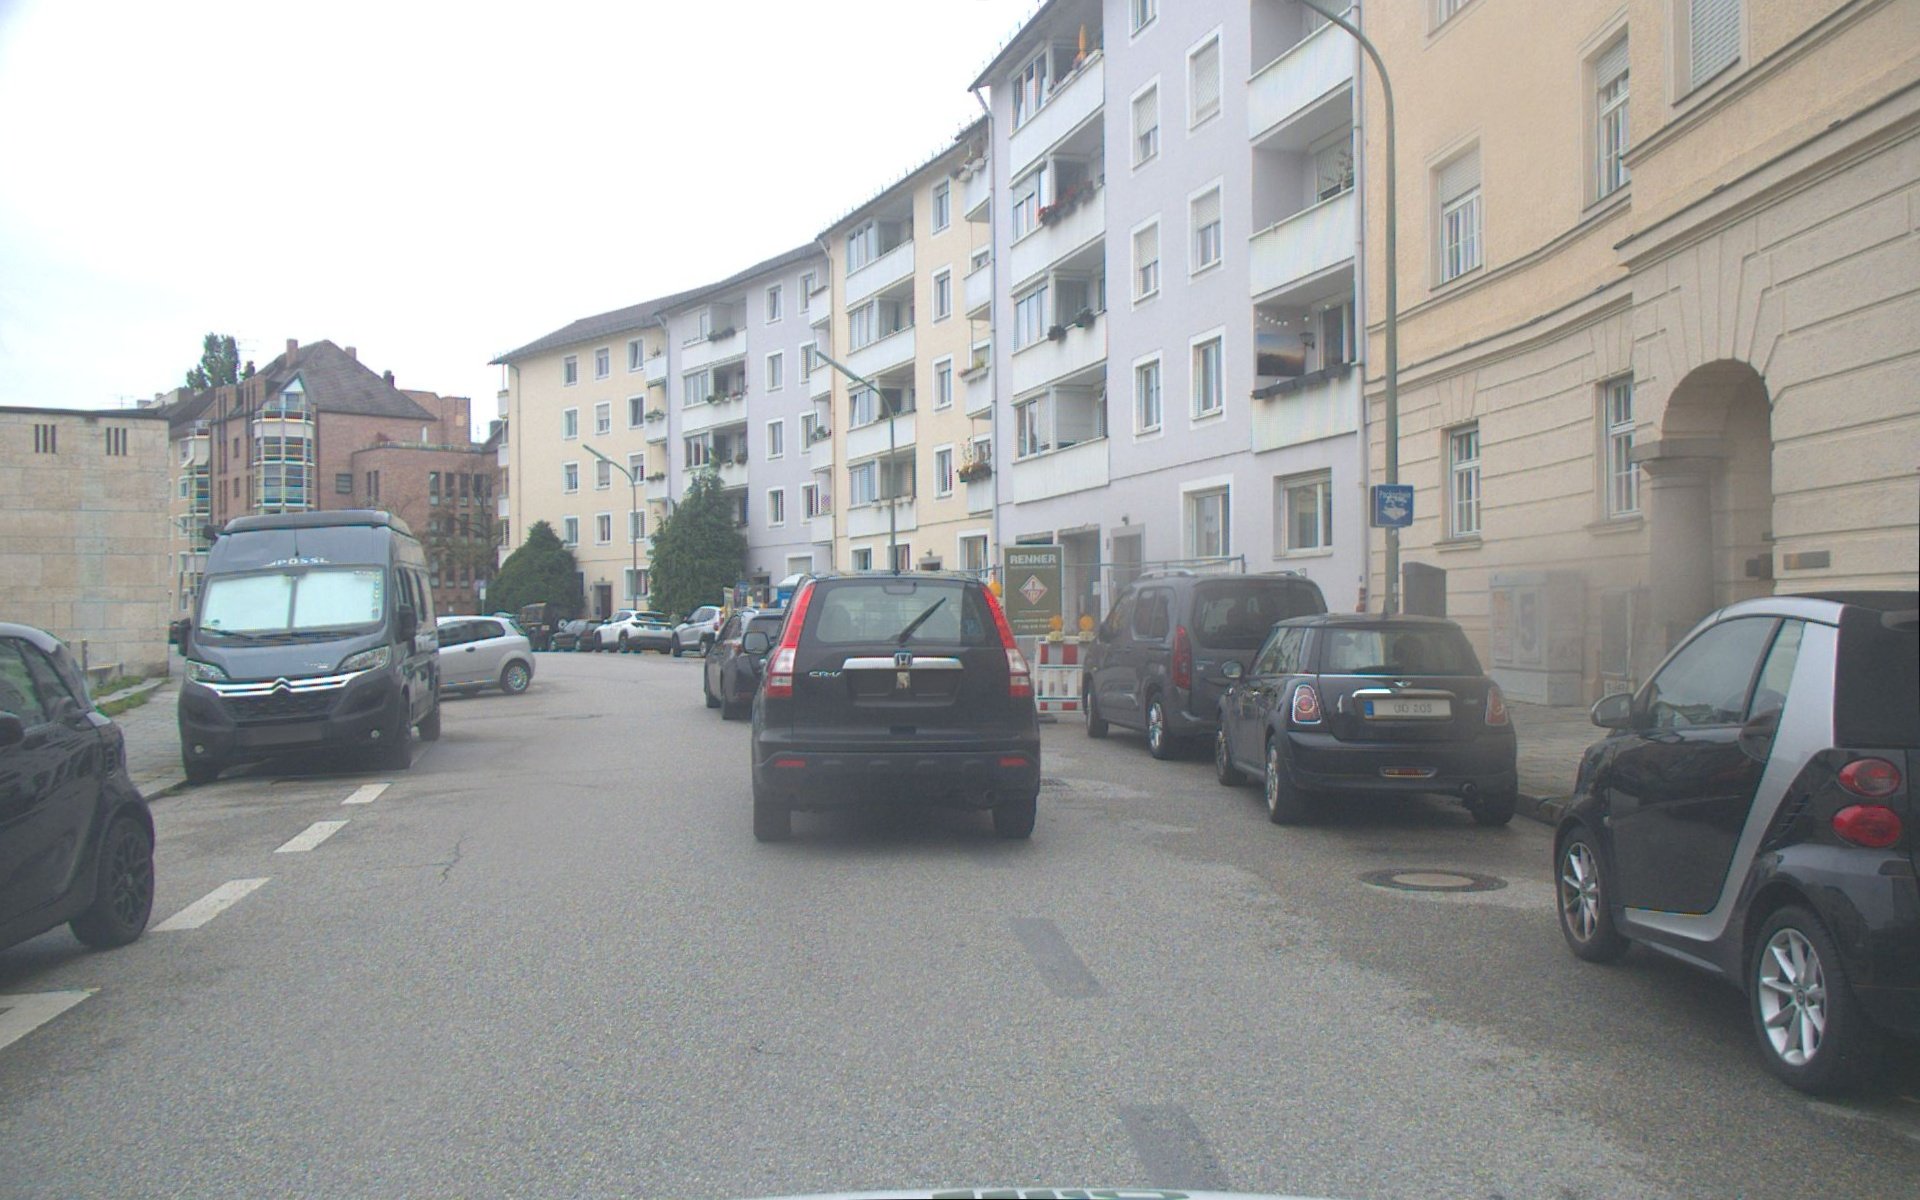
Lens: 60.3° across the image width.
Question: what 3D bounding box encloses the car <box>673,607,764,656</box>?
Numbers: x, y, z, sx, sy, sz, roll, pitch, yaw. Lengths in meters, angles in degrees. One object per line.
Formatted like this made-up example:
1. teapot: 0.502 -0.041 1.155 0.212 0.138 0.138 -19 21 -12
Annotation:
1. car: -7.938 0.994 54.059 1.705 1.509 3.963 0 0 -28

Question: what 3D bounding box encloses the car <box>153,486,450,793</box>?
1. car: -6.805 0.334 17.807 2.128 2.688 5.994 -2 0 -14

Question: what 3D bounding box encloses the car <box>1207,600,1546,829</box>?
1. car: 3.015 0.764 12.746 1.673 1.472 3.830 1 0 1

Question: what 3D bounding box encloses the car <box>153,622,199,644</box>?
1. car: -54.506 2.274 114.960 1.799 1.498 4.052 0 0 -43

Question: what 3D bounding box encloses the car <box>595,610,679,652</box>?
1. car: -12.287 1.163 62.757 1.709 1.509 3.952 0 0 -34

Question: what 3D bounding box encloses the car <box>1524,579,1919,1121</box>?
1. car: 3.412 0.738 6.296 1.503 1.550 3.111 1 0 1

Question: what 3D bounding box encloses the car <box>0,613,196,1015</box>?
1. car: -4.563 0.854 6.836 1.638 1.528 2.973 -2 0 -6

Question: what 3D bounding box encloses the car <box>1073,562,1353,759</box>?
1. car: 2.536 0.586 17.655 1.745 1.838 4.267 1 0 -9

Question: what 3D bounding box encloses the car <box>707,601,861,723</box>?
1. car: -2.511 0.786 22.826 1.650 1.507 4.073 0 0 -13

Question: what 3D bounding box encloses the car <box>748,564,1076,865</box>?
1. car: -0.472 0.652 11.340 1.854 1.676 3.986 0 0 -6

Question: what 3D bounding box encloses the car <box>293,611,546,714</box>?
1. car: -9.732 1.103 30.005 1.652 1.507 4.068 -5 -1 38

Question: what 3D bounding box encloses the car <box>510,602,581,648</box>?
1. car: -17.718 1.057 70.671 1.709 1.911 3.952 0 0 -34

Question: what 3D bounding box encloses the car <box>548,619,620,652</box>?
1. car: -15.223 1.413 66.900 1.683 1.258 3.559 0 0 -34
